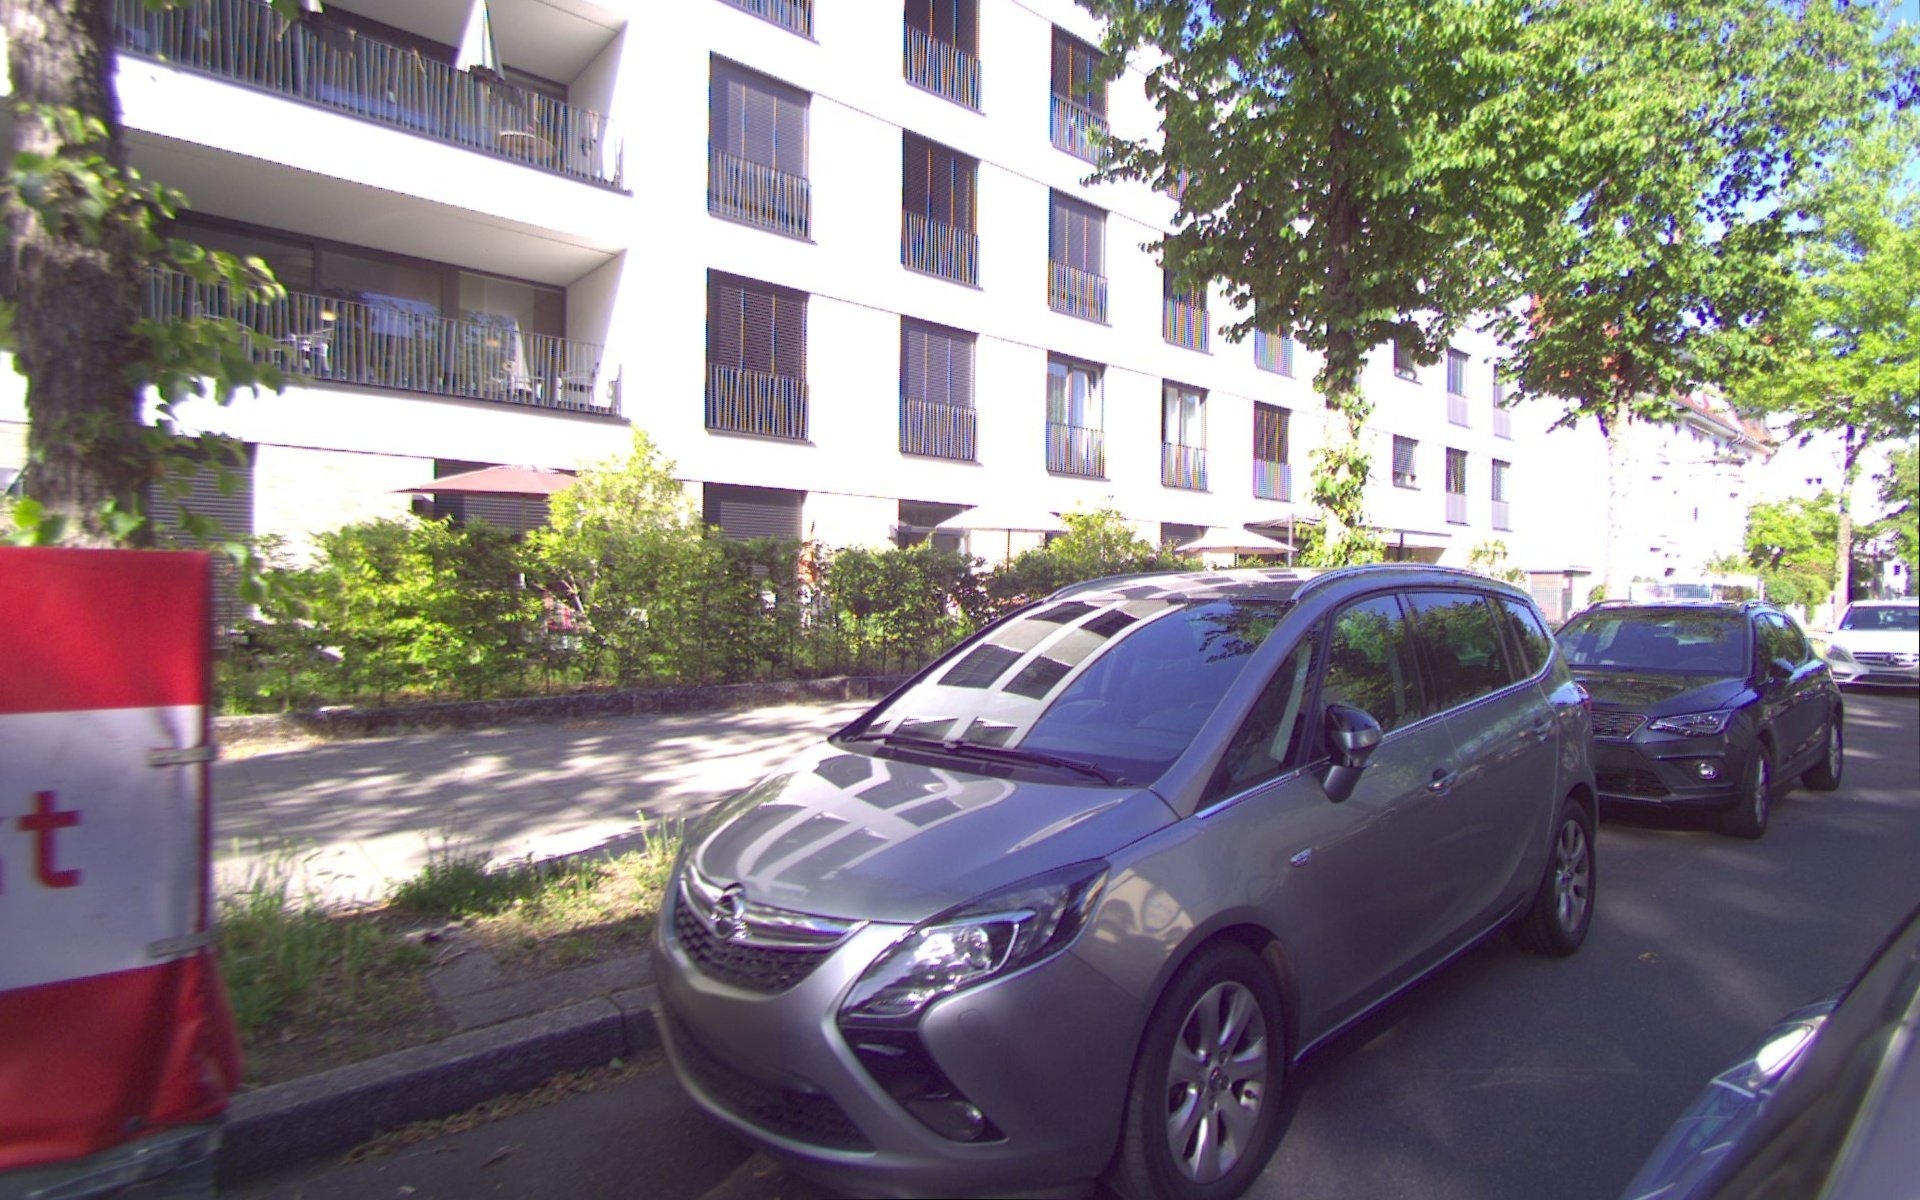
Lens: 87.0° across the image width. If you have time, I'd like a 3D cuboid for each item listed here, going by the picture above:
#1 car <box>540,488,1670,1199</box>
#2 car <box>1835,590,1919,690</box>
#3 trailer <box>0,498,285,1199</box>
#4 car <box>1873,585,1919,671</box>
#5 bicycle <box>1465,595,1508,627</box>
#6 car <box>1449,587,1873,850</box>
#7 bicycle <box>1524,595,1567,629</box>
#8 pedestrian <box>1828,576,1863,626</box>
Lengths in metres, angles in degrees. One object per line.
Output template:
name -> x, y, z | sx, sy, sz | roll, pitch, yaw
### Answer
car -> 1.069, 0.646, 3.999 | 4.736, 1.664, 1.795 | 0, -1, -42
car -> 16.302, 0.613, 17.271 | 1.782, 1.537, 4.612 | 0, 0, 45
trailer -> -2.728, 0.679, 1.155 | 3.134, 1.599, 1.578 | 0, -1, -39
car -> 20.631, 0.543, 20.938 | 4.774, 1.668, 1.901 | 0, 0, -39
bicycle -> 15.353, 0.313, 29.522 | 1.581, 0.905, 0.564 | 0, 1, -41
car -> 5.667, 0.680, 7.959 | 4.268, 1.535, 1.721 | 0, 0, -41
bicycle -> 16.415, 0.328, 28.357 | 1.581, 0.905, 0.564 | 0, 1, -41
pedestrian -> 36.574, 0.041, 41.811 | 0.988, 2.038, 0.907 | 0, 1, -41
